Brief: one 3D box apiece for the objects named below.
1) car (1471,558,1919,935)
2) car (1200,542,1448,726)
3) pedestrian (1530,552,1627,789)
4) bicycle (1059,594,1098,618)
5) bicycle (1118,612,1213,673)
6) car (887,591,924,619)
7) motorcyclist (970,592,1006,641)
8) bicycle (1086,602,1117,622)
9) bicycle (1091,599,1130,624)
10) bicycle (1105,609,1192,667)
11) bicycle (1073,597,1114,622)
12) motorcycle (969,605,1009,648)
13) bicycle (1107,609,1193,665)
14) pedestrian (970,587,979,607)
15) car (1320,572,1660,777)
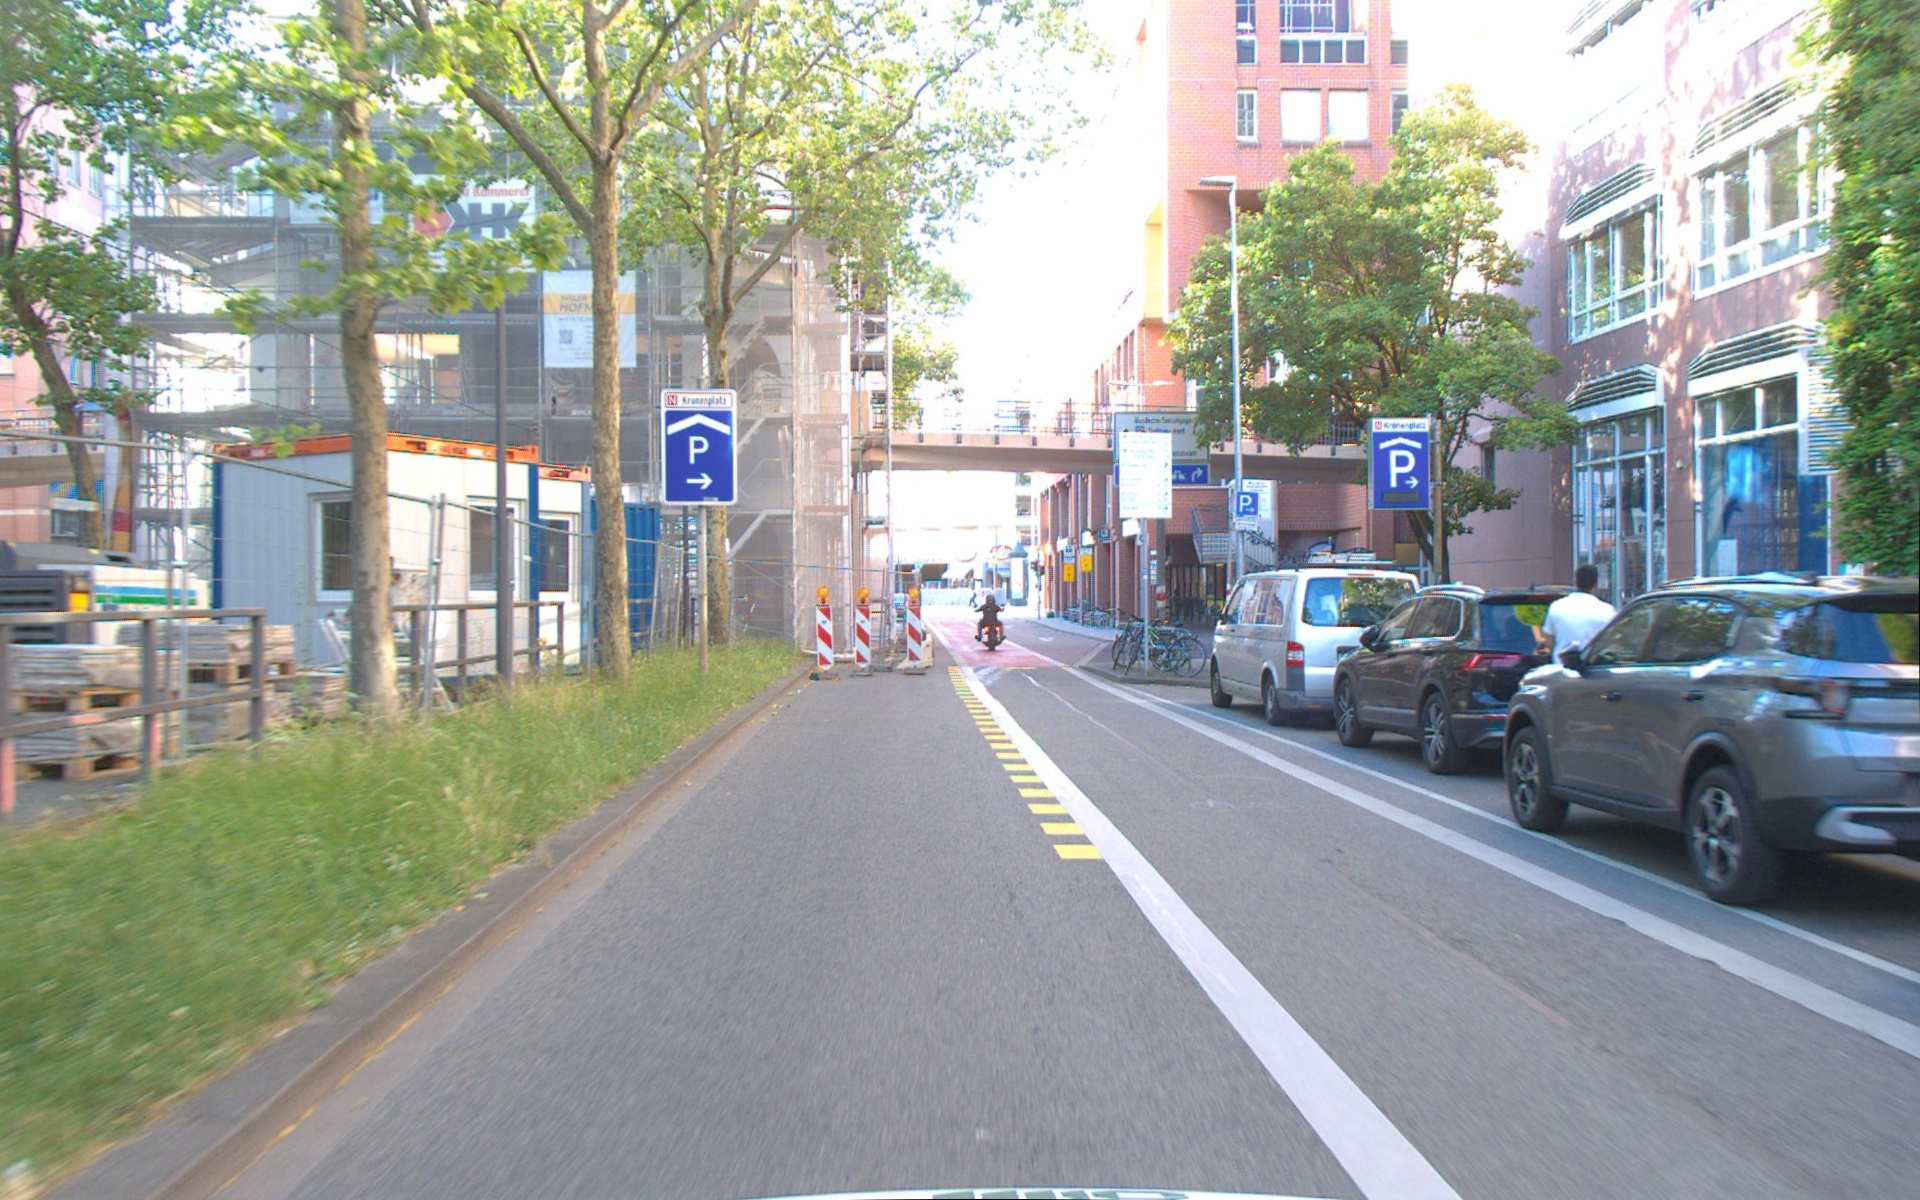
[{"bbox_3d":[4.663,0.643,9.727,1.752,1.699,4.438,0,0,-3],"label":"car"},{"bbox_3d":[4.584,0.374,21.678,1.880,2.115,5.167,0,0,-3],"label":"car"},{"bbox_3d":[4.990,0.550,13.333,0.648,1.844,0.715,-1,0,26],"label":"pedestrian"},{"bbox_3d":[5.886,0.302,82.297,1.853,1.138,0.474,-1,0,-3],"label":"bicycle"},{"bbox_3d":[3.751,0.764,30.134,1.643,1.086,0.511,0,0,21],"label":"bicycle"},{"bbox_3d":[-2.933,0.247,88.402,1.885,1.413,3.997,0,1,-4],"label":"car"},{"bbox_3d":[0.797,0.461,47.311,0.951,1.370,1.137,1,0,-3],"label":"motorcyclist"},{"bbox_3d":[6.335,0.534,74.062,1.307,0.856,0.424,-3,0,-1],"label":"bicycle"},{"bbox_3d":[6.495,0.508,71.316,1.579,0.971,0.555,-3,0,-1],"label":"bicycle"},{"bbox_3d":[3.684,0.733,32.371,1.647,1.086,0.499,0,0,32],"label":"bicycle"},{"bbox_3d":[6.325,0.427,78.273,1.853,1.138,0.550,-1,0,-3],"label":"bicycle"},{"bbox_3d":[0.809,0.727,47.152,0.954,1.151,2.803,1,0,-3],"label":"motorcycle"},{"bbox_3d":[3.806,0.731,33.171,1.647,1.086,0.499,0,0,32],"label":"bicycle"},{"bbox_3d":[1.186,-0.268,137.988,0.548,1.611,0.537,0,0,45],"label":"pedestrian"},{"bbox_3d":[4.885,0.606,15.905,1.752,1.699,4.197,0,0,-3],"label":"car"}]
